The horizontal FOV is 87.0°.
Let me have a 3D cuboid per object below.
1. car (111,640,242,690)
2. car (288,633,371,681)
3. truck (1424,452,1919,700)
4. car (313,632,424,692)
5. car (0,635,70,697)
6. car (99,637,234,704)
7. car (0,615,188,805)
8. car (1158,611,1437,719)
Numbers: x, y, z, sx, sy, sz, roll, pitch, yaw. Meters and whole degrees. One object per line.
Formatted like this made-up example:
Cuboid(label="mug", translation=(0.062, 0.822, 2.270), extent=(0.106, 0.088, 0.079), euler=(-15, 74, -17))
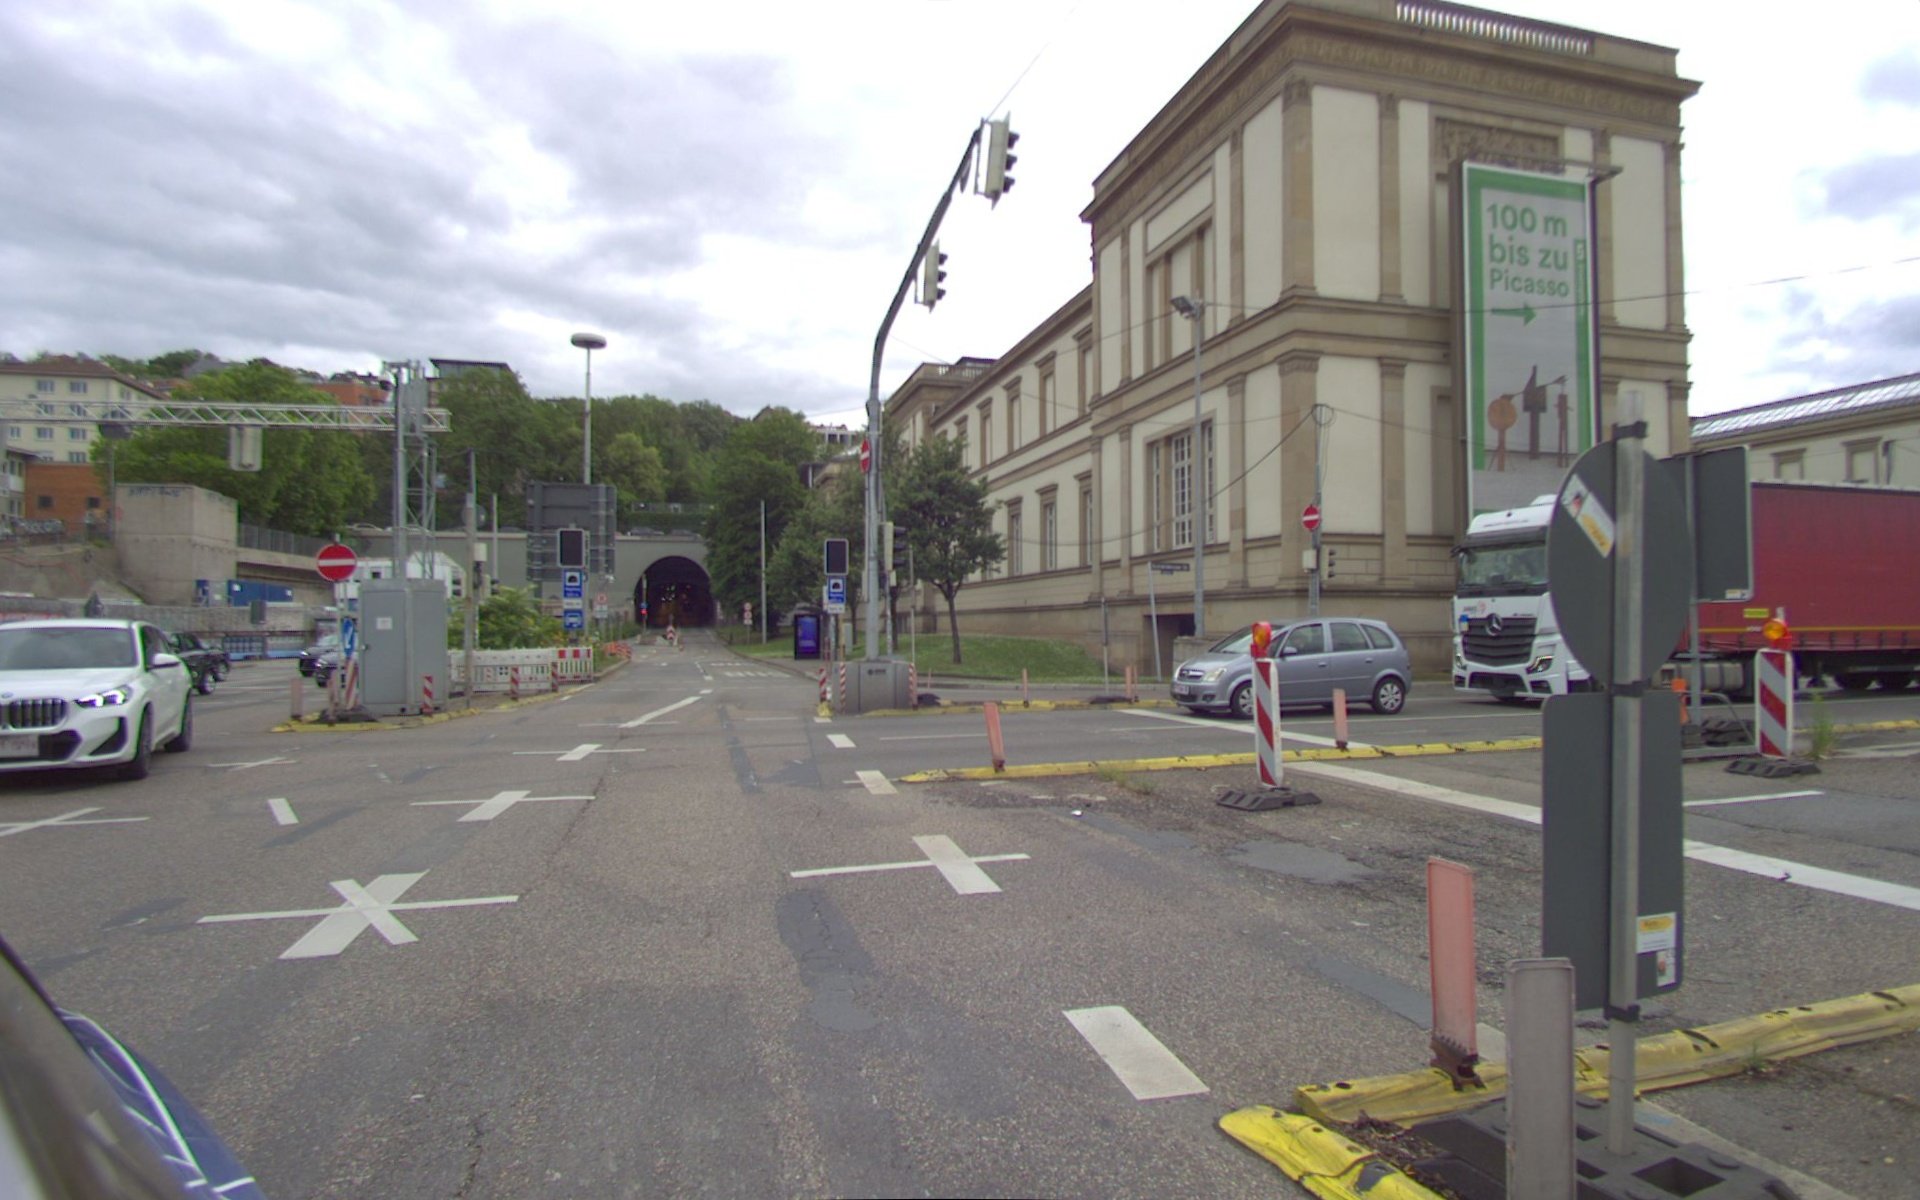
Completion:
Cuboid(label="car", translation=(-23.640, 1.927, 30.693), extent=(1.700, 1.400, 3.712), euler=(0, -2, -12))
Cuboid(label="car", translation=(-22.224, 1.954, 35.810), extent=(1.965, 1.564, 4.013), euler=(0, -2, -24))
Cuboid(label="truck", translation=(17.295, -0.427, 20.419), extent=(16.331, 4.114, 2.935), euler=(-1, -2, -16))
Cuboid(label="car", translation=(-17.035, 1.735, 29.352), extent=(1.966, 1.564, 4.012), euler=(0, -2, -18))
Cuboid(label="car", translation=(-26.081, 1.782, 27.049), extent=(1.664, 1.586, 4.081), euler=(-2, -1, -12))
Cuboid(label="car", translation=(-18.580, 1.613, 23.861), extent=(1.551, 1.430, 3.582), euler=(0, -2, -22))
Cuboid(label="car", translation=(-9.179, 0.980, 10.239), extent=(1.782, 1.617, 3.723), euler=(1, -2, -32))
Cuboid(label="car", translation=(5.564, 1.011, 16.826), extent=(4.061, 1.515, 1.776), euler=(-1, -1, -16))
